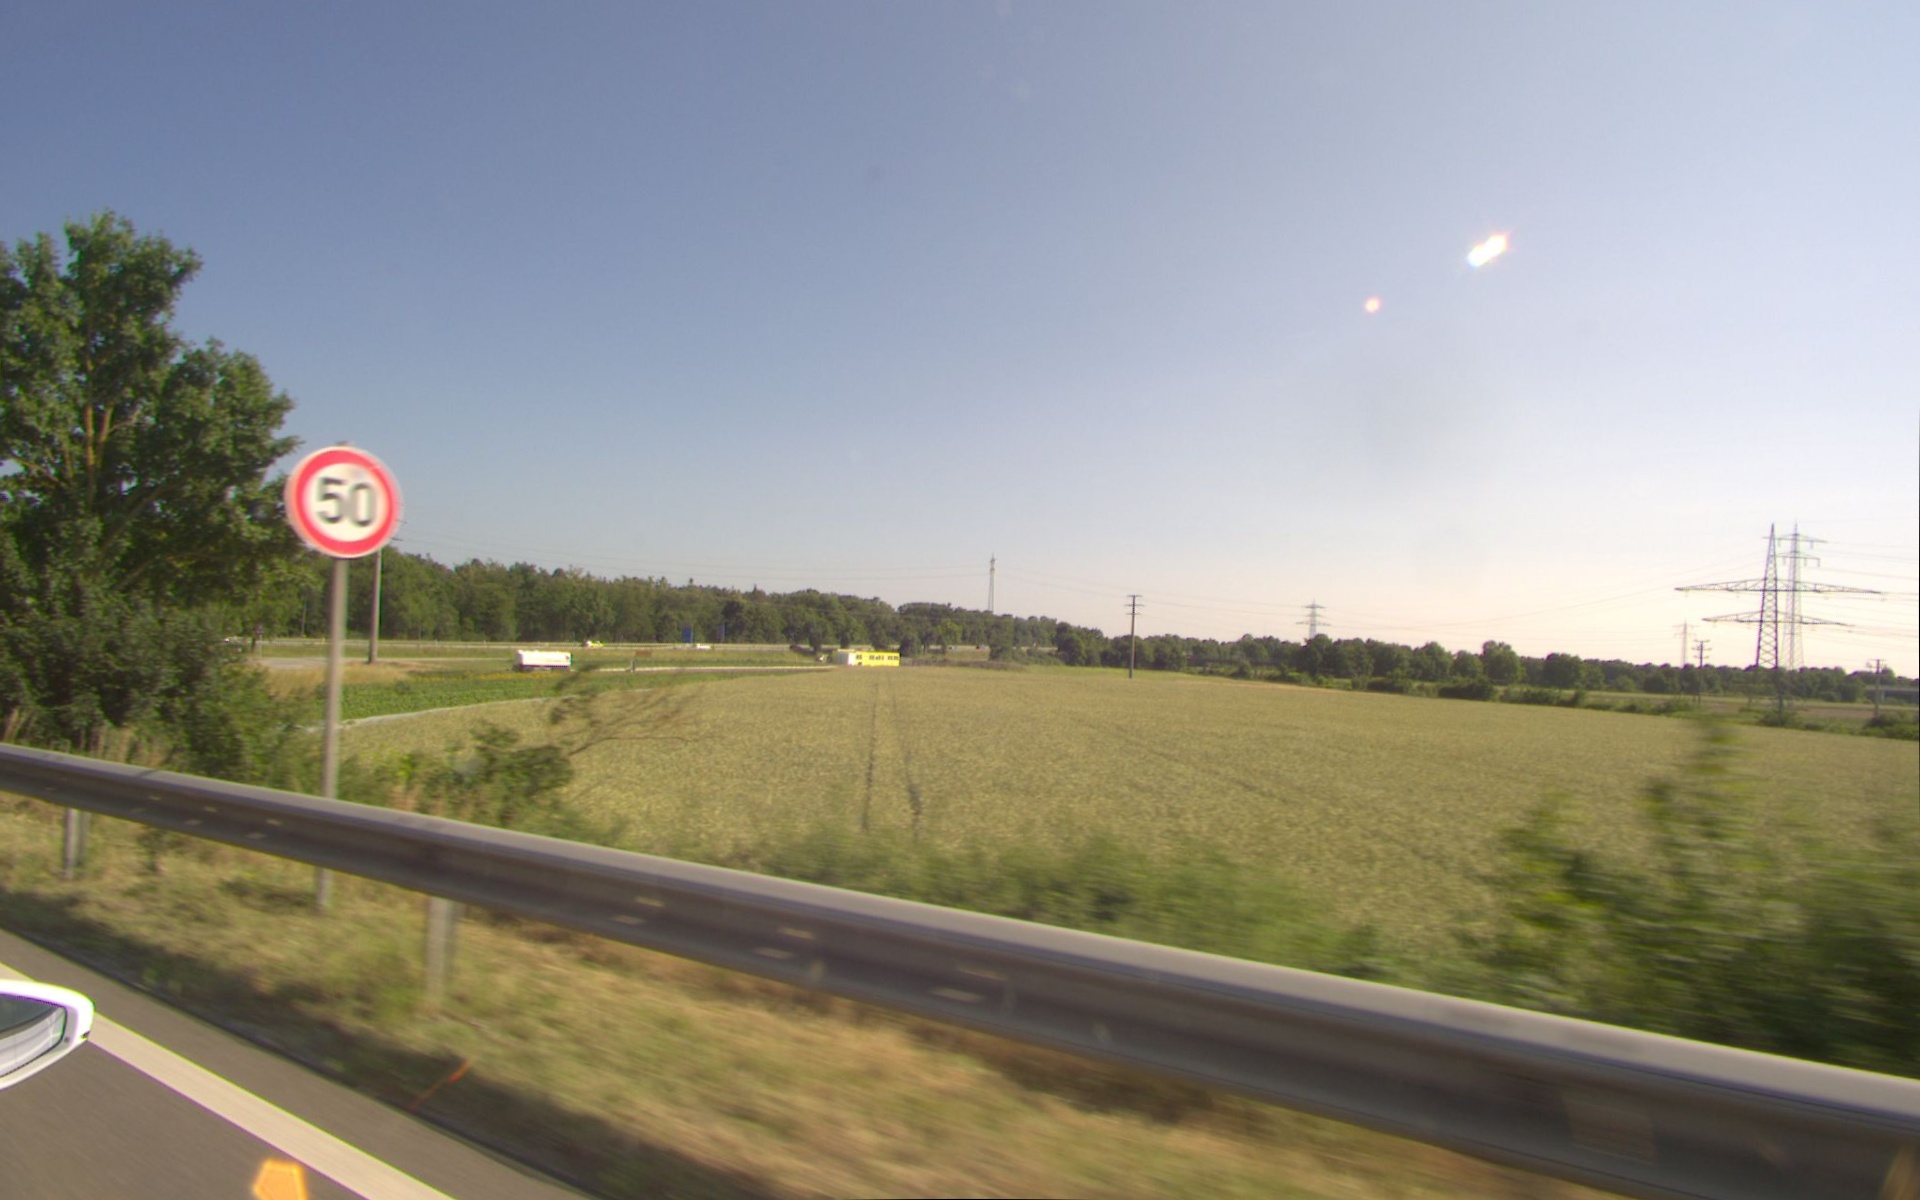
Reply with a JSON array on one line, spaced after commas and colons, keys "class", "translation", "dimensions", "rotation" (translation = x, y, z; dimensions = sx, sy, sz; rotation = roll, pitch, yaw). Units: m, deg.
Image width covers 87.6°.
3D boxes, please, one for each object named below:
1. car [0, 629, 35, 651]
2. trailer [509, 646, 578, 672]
[{"class": "car", "translation": [-87.815, 3.593, 91.754], "dimensions": [3.933, 1.899, 1.889], "rotation": [5, -4, -18]}, {"class": "trailer", "translation": [-48.524, 6.868, 116.775], "dimensions": [6.741, 2.703, 2.867], "rotation": [5, -4, -42]}]
